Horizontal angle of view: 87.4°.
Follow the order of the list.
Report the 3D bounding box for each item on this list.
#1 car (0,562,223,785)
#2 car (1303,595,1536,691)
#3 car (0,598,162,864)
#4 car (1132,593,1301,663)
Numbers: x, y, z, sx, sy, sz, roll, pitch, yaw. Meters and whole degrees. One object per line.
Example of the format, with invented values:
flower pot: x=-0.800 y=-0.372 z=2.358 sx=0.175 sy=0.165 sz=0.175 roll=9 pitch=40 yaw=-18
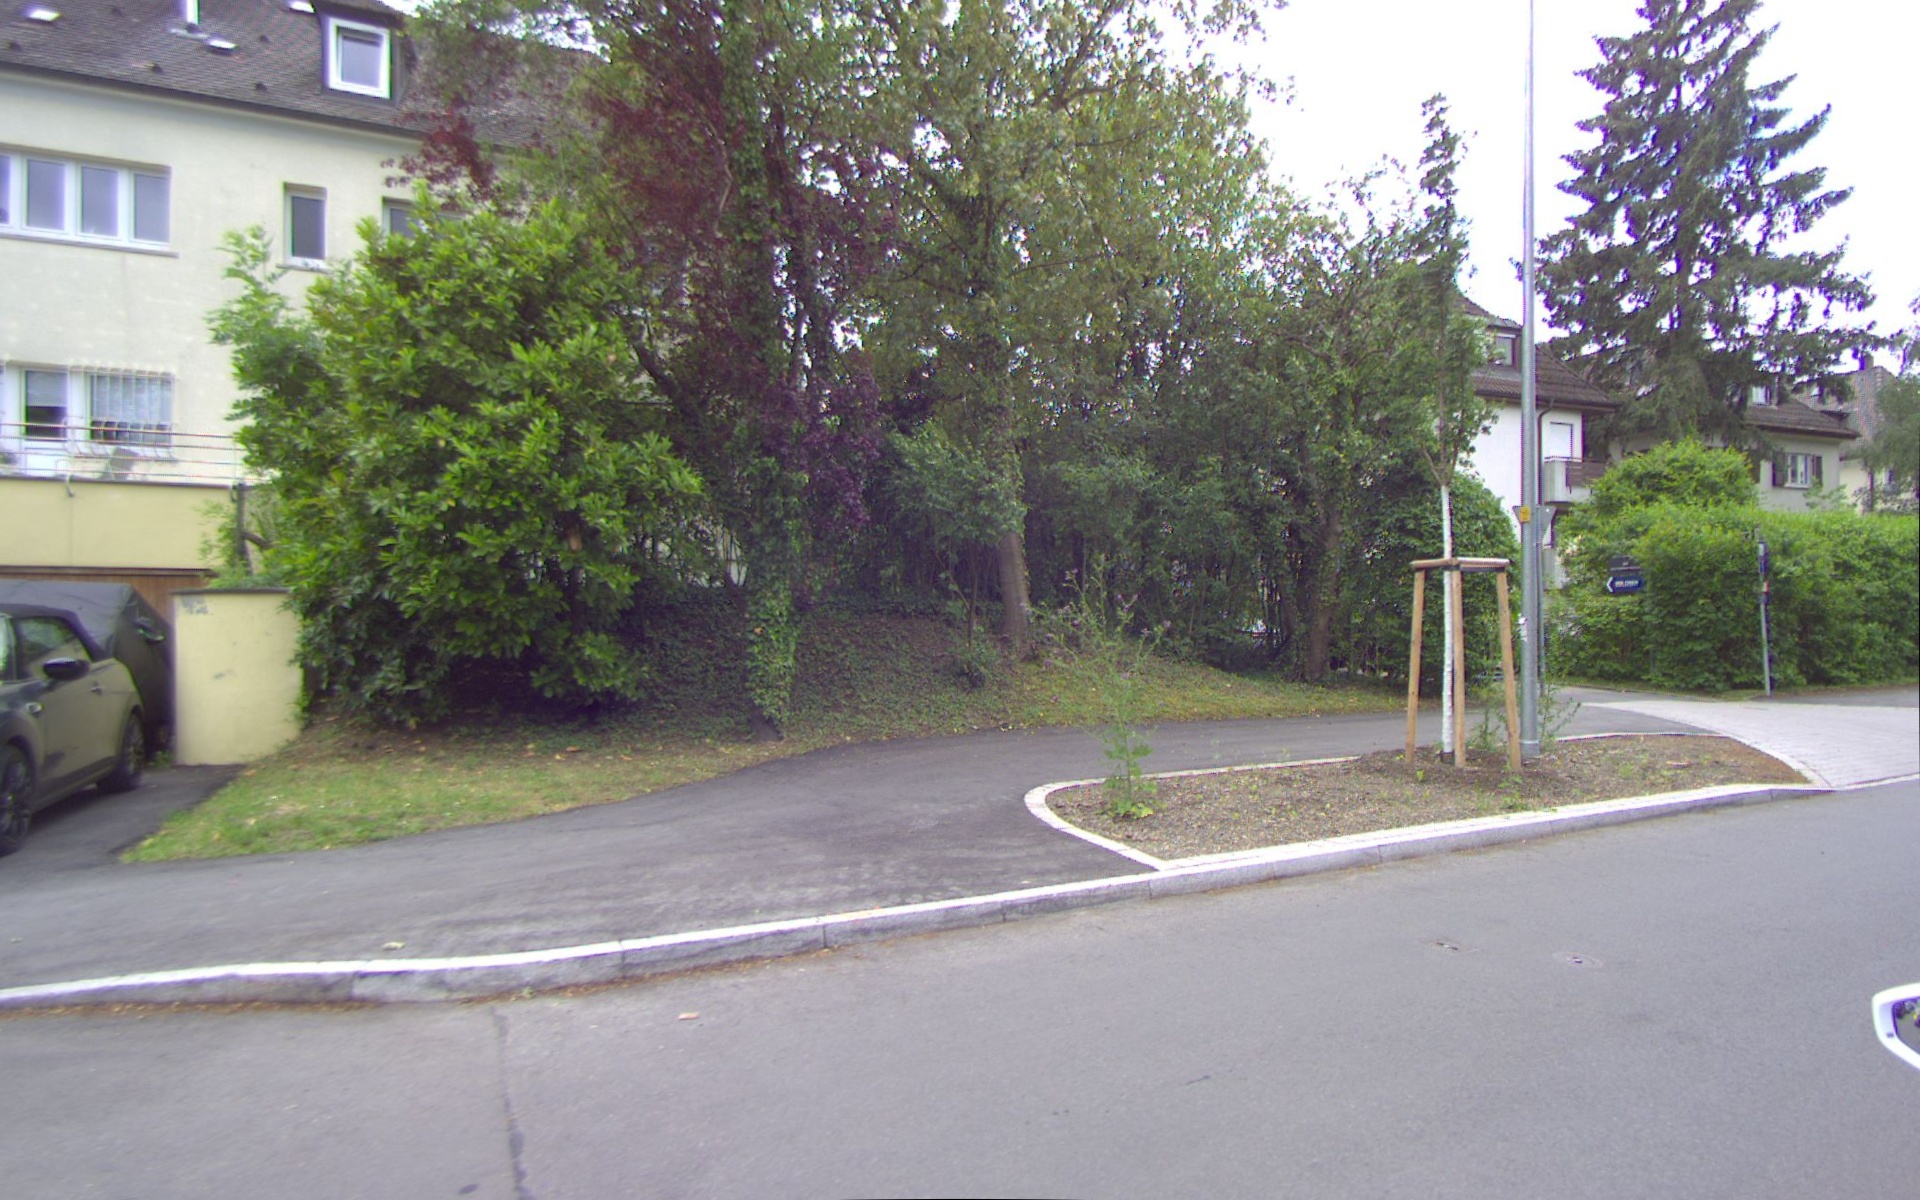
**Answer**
car: x=-8.765 y=0.705 z=9.672 sx=1.982 sy=1.817 sz=3.538 roll=0 pitch=-4 yaw=-25
car: x=9.074 y=0.776 z=20.182 sx=1.844 sy=1.614 sz=3.973 roll=1 pitch=1 yaw=-26
car: x=-6.500 y=0.709 z=6.178 sx=1.755 sy=1.403 sz=3.808 roll=0 pitch=0 yaw=-27
car: x=6.322 y=0.642 z=25.187 sx=1.846 sy=1.514 sz=3.967 roll=1 pitch=1 yaw=-30
